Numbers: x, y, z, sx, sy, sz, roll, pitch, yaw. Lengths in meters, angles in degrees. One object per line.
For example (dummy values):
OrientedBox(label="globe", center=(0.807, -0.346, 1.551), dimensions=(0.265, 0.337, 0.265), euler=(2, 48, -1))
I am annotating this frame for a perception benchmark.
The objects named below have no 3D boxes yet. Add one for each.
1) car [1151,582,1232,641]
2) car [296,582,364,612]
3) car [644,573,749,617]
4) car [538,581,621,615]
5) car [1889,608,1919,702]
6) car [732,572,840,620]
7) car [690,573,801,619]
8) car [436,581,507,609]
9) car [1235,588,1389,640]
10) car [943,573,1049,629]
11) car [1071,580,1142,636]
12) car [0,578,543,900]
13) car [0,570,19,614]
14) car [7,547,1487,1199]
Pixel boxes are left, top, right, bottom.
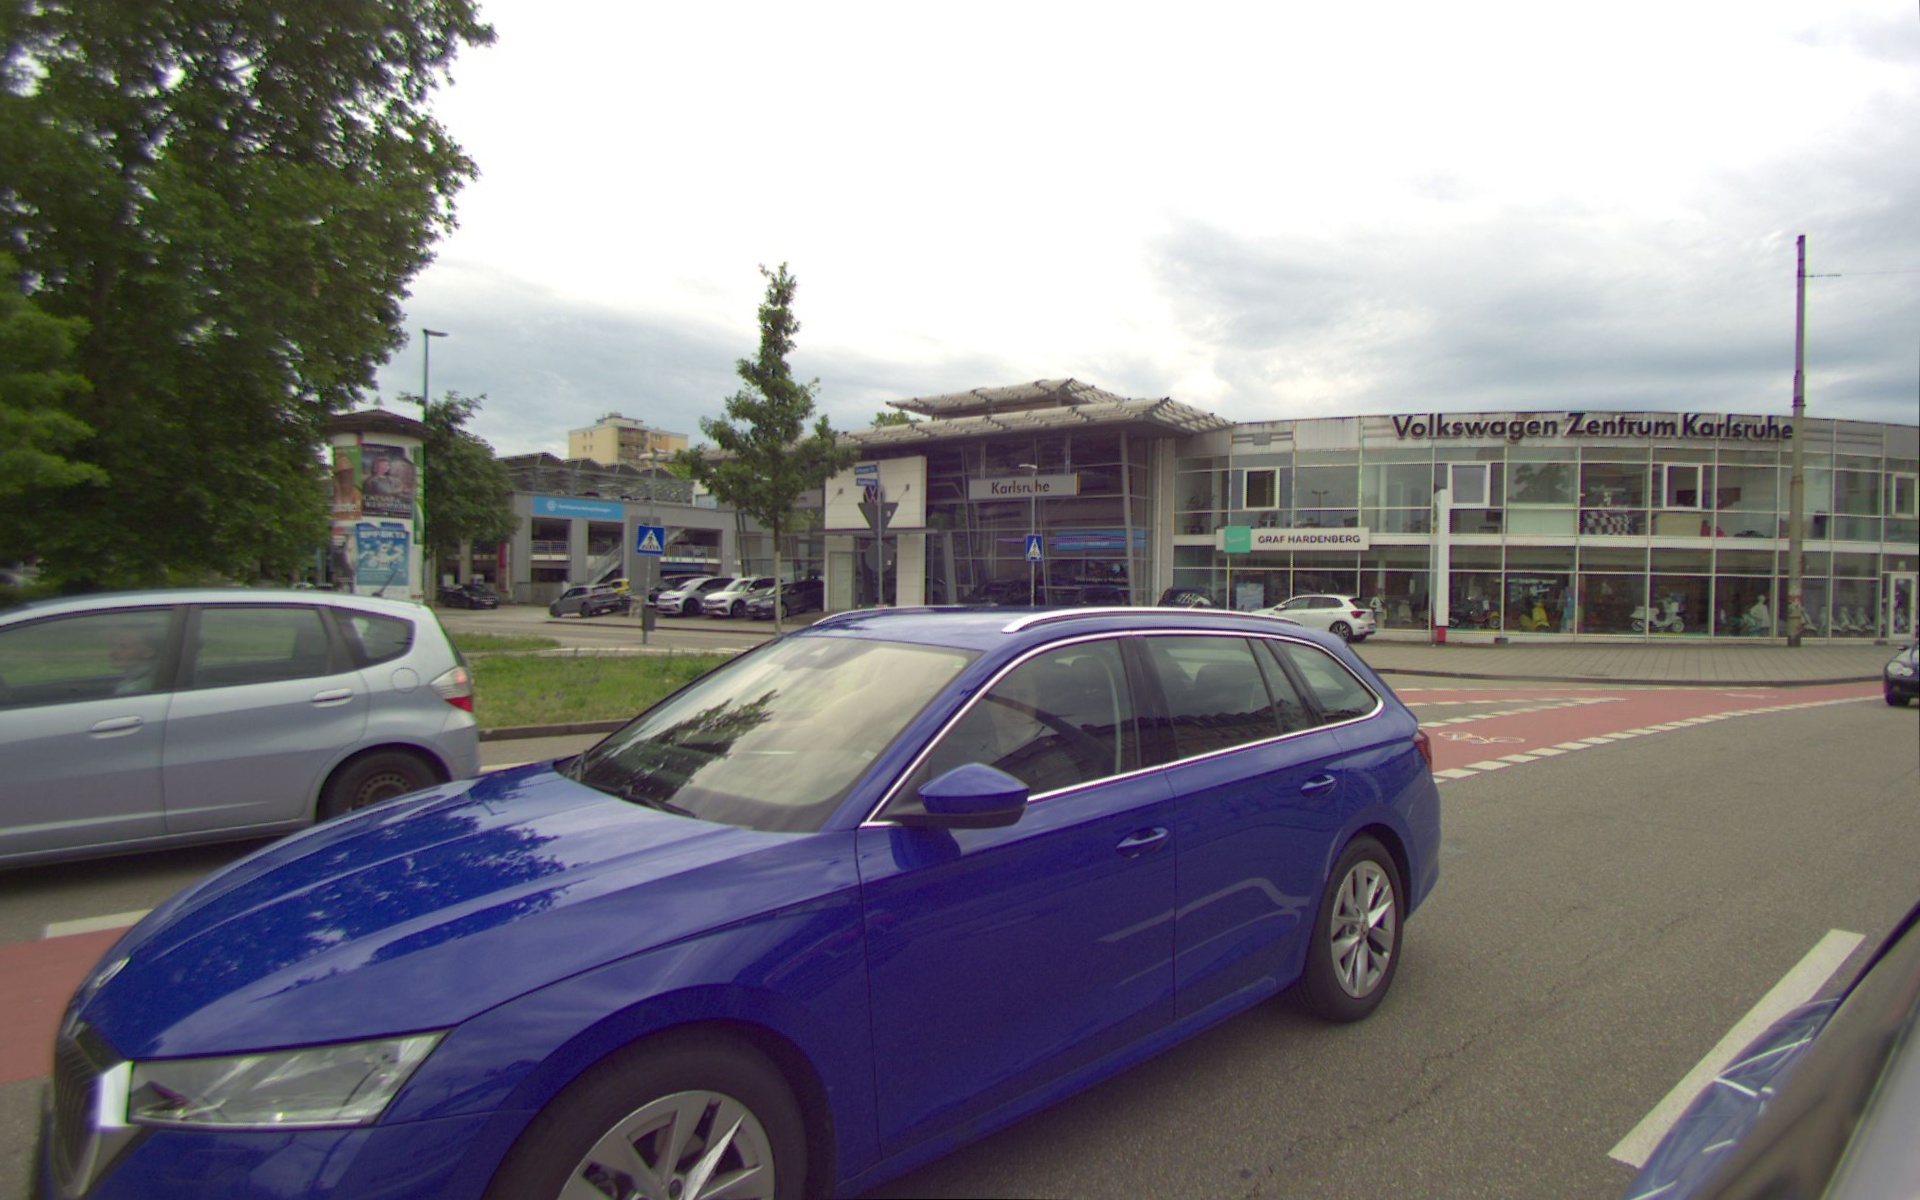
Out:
OrientedBox(label="car", center=(7.404, 0.323, 32.749), dimensions=(1.867, 1.581, 4.219), euler=(1, 3, 4))
OrientedBox(label="car", center=(-37.063, -0.220, 59.505), dimensions=(4.446, 1.643, 1.838), euler=(2, 2, 35))
OrientedBox(label="car", center=(-11.978, -0.273, 46.196), dimensions=(1.859, 1.720, 4.419), euler=(0, 4, 37))
OrientedBox(label="car", center=(-18.636, -0.104, 49.502), dimensions=(3.988, 1.583, 1.896), euler=(0, 1, 35))
OrientedBox(label="car", center=(16.674, 0.862, 16.107), dimensions=(3.988, 1.439, 1.717), euler=(0, 1, -31))
OrientedBox(label="car", center=(-7.314, -0.196, 42.856), dimensions=(1.886, 1.717, 4.421), euler=(0, 4, 36))
OrientedBox(label="car", center=(-9.397, -0.219, 44.601), dimensions=(1.850, 1.720, 4.716), euler=(0, 4, 36))
OrientedBox(label="car", center=(-28.986, -0.331, 60.053), dimensions=(4.446, 1.567, 1.876), euler=(2, 2, 35))
OrientedBox(label="car", center=(11.016, 0.402, 31.801), dimensions=(4.243, 1.471, 1.757), euler=(1, 1, 40))
OrientedBox(label="car", center=(1.364, -0.004, 35.871), dimensions=(1.846, 1.652, 4.464), euler=(0, 4, 31))
OrientedBox(label="car", center=(4.712, 0.200, 33.134), dimensions=(1.824, 1.522, 4.340), euler=(0, 4, 2))
OrientedBox(label="car", center=(-4.689, 0.631, 5.653), dimensions=(4.027, 1.485, 1.752), euler=(0, 1, -42))
OrientedBox(label="car", center=(-36.497, -0.298, 36.337), dimensions=(4.408, 1.567, 1.854), euler=(1, 0, 13))
OrientedBox(label="car", center=(-0.088, 0.649, 3.360), dimensions=(4.388, 1.507, 1.783), euler=(-1, 2, -41))
